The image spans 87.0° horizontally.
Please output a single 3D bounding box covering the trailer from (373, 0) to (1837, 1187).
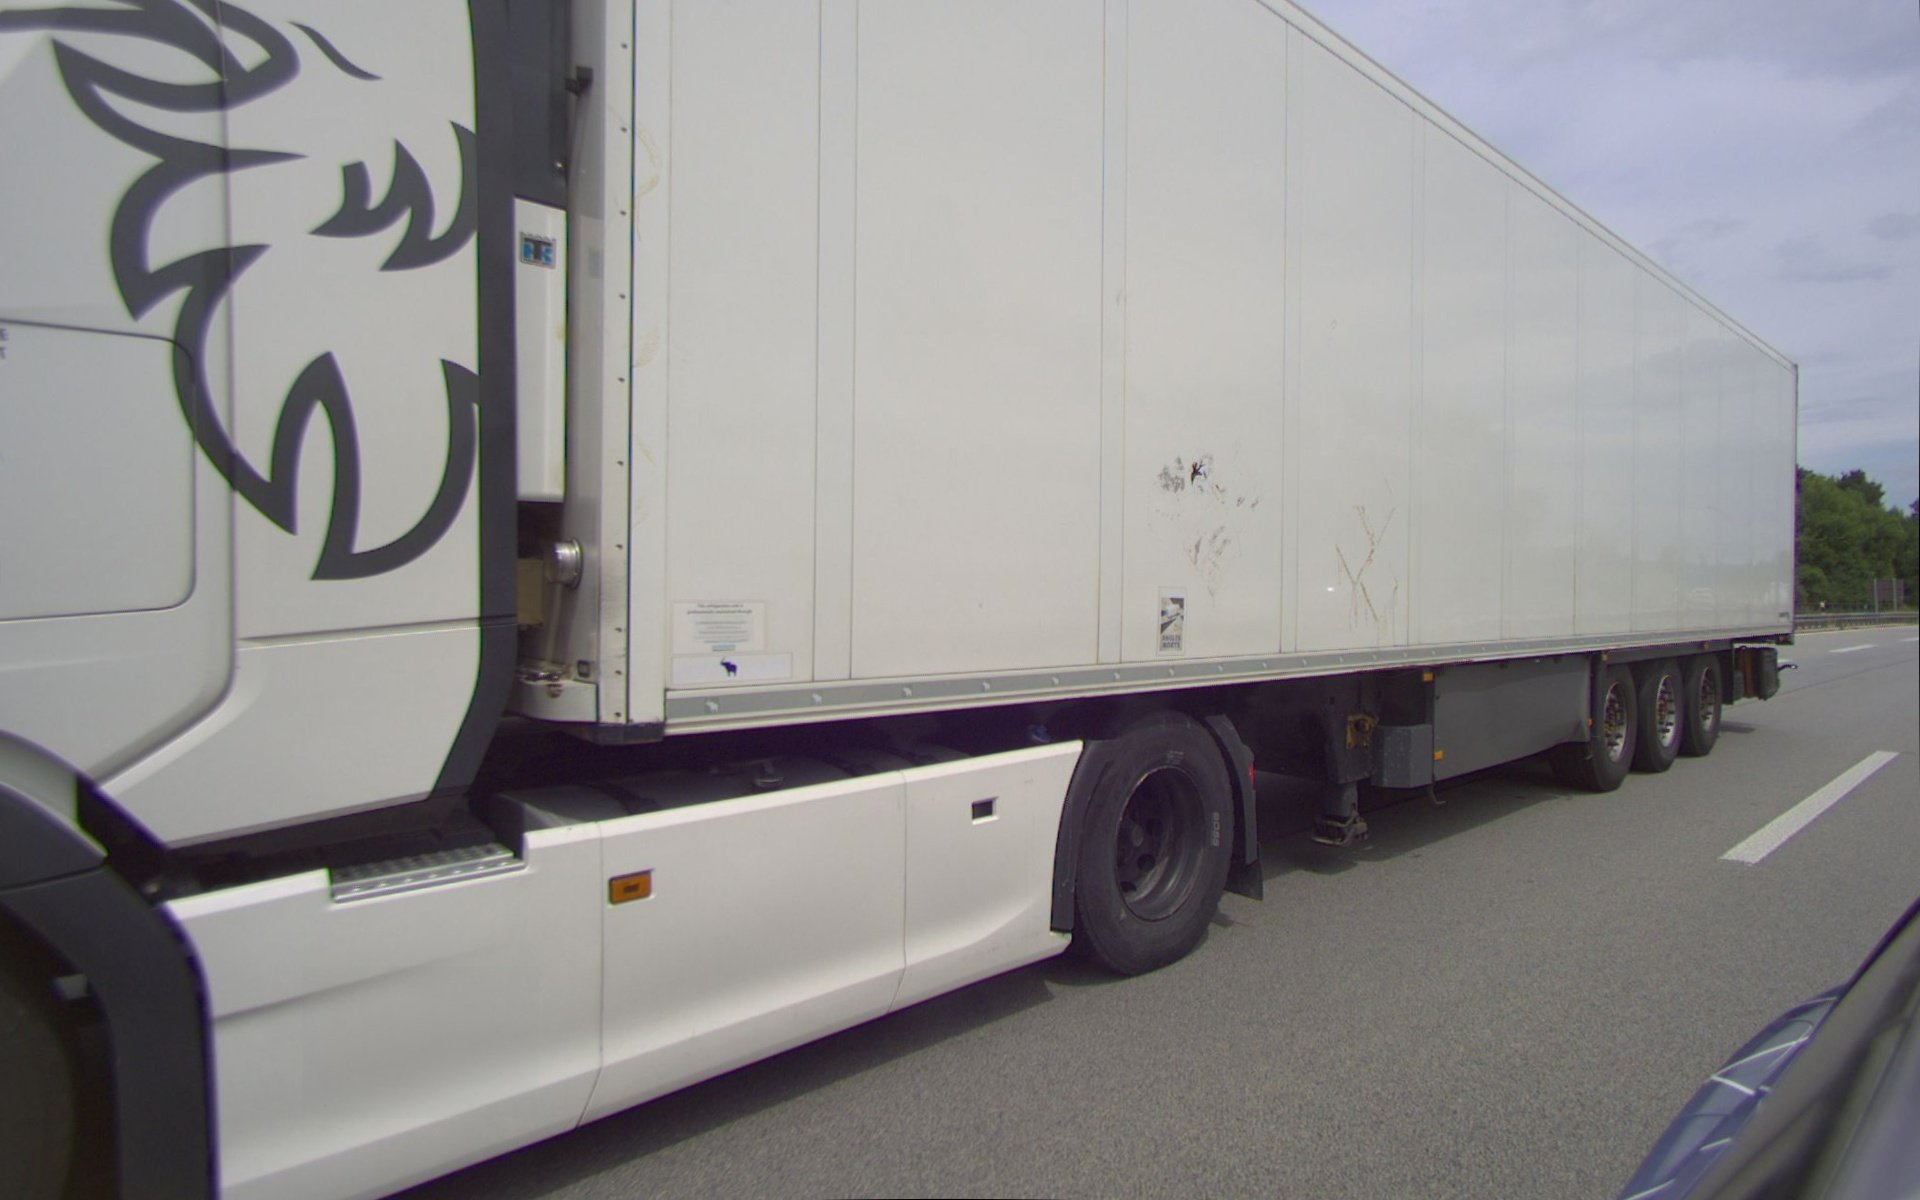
[{"bbox_3d":[3.401,-0.614,7.923,13.544,3.940,3.068,0,0,-40],"label":"trailer"}]

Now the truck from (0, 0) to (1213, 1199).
[{"bbox_3d":[-2.270,-0.634,3.160,5.893,3.941,3.068,0,0,-40],"label":"truck"}]
